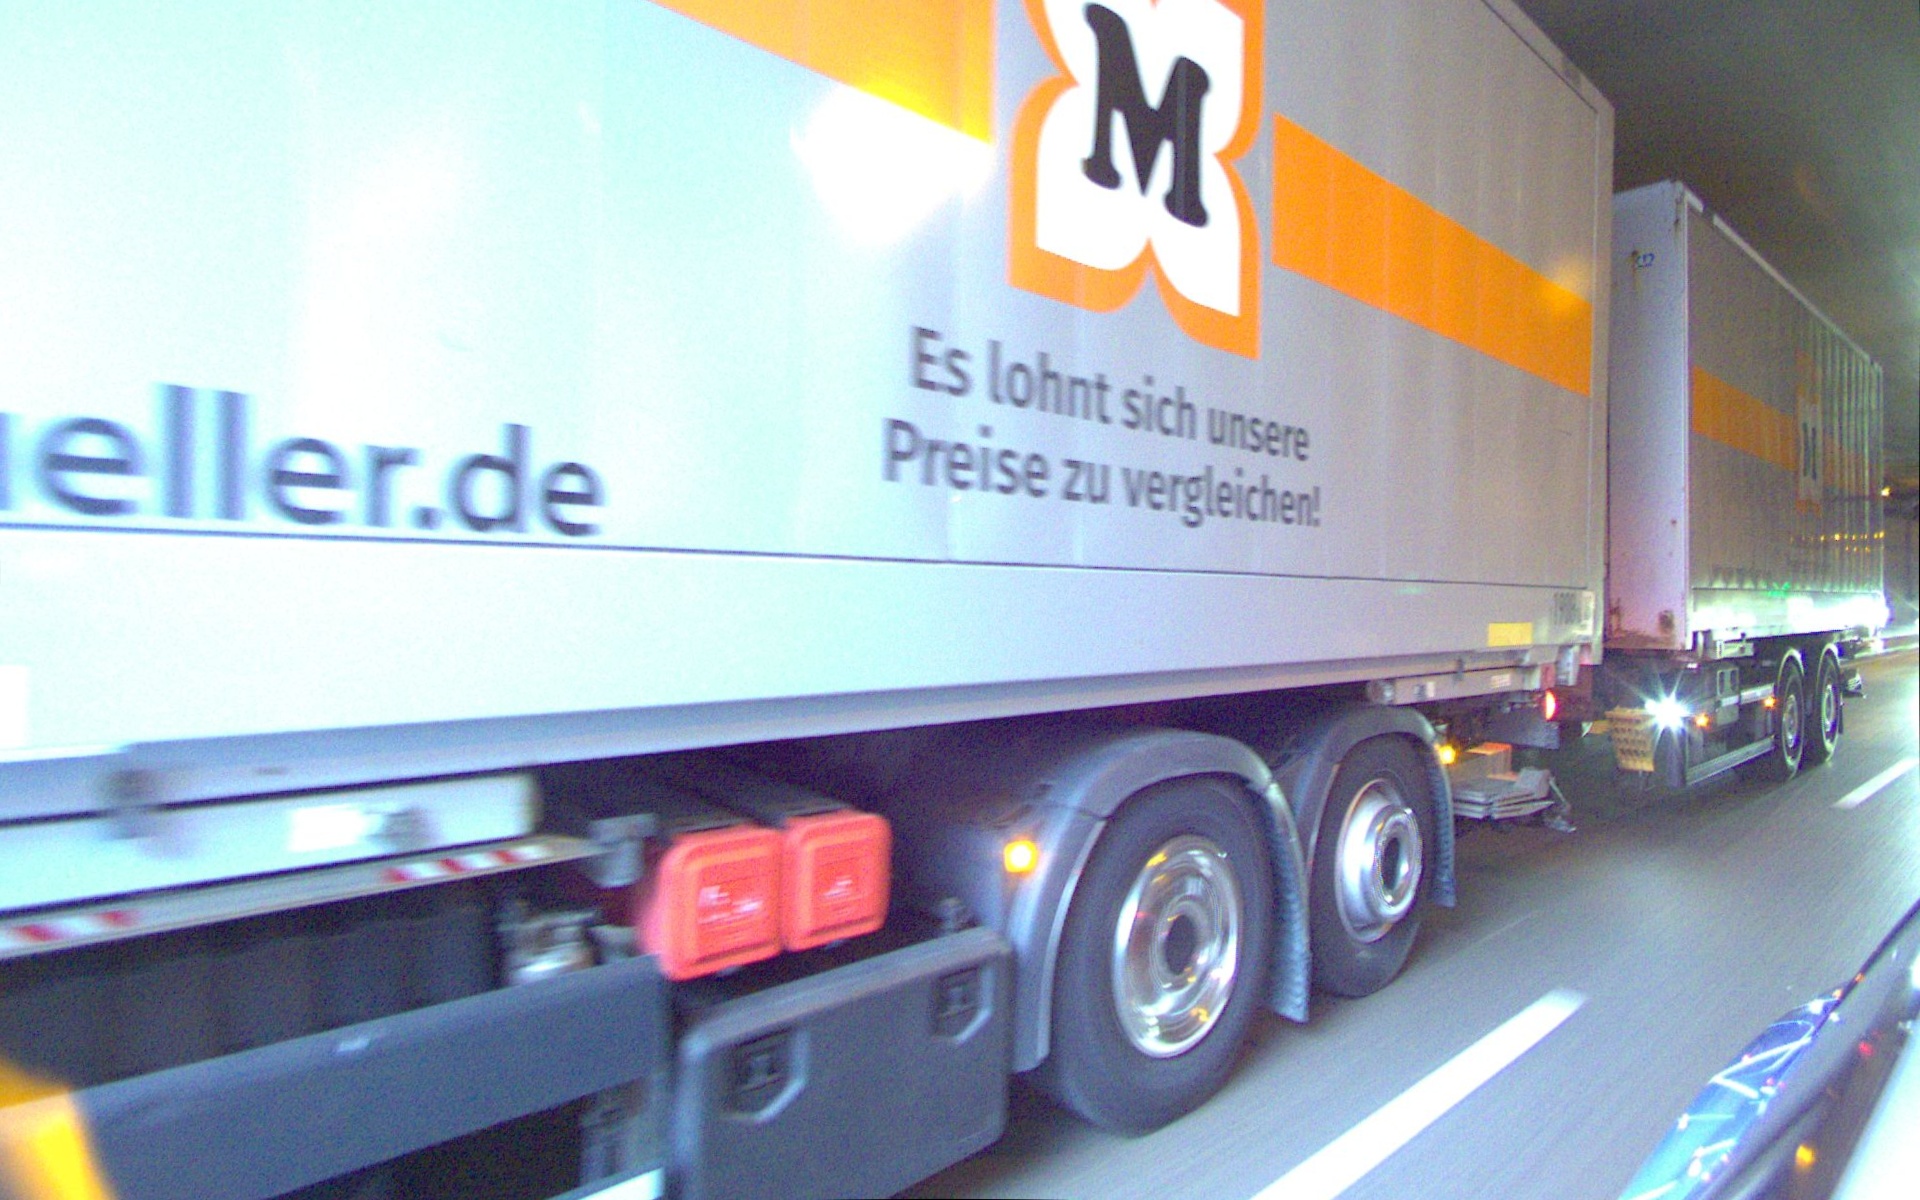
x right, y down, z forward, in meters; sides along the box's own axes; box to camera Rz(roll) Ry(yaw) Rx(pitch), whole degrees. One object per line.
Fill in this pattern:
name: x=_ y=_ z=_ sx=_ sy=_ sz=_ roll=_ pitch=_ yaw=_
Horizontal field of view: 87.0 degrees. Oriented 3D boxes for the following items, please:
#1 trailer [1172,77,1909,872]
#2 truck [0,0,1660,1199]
trailer: x=5.757 y=-0.607 z=8.940 sx=8.790 sy=3.907 sz=2.880 roll=0 pitch=-1 yaw=-41
truck: x=-1.105 y=-0.669 z=2.880 sx=9.737 sy=3.963 sz=2.893 roll=0 pitch=0 yaw=-42
